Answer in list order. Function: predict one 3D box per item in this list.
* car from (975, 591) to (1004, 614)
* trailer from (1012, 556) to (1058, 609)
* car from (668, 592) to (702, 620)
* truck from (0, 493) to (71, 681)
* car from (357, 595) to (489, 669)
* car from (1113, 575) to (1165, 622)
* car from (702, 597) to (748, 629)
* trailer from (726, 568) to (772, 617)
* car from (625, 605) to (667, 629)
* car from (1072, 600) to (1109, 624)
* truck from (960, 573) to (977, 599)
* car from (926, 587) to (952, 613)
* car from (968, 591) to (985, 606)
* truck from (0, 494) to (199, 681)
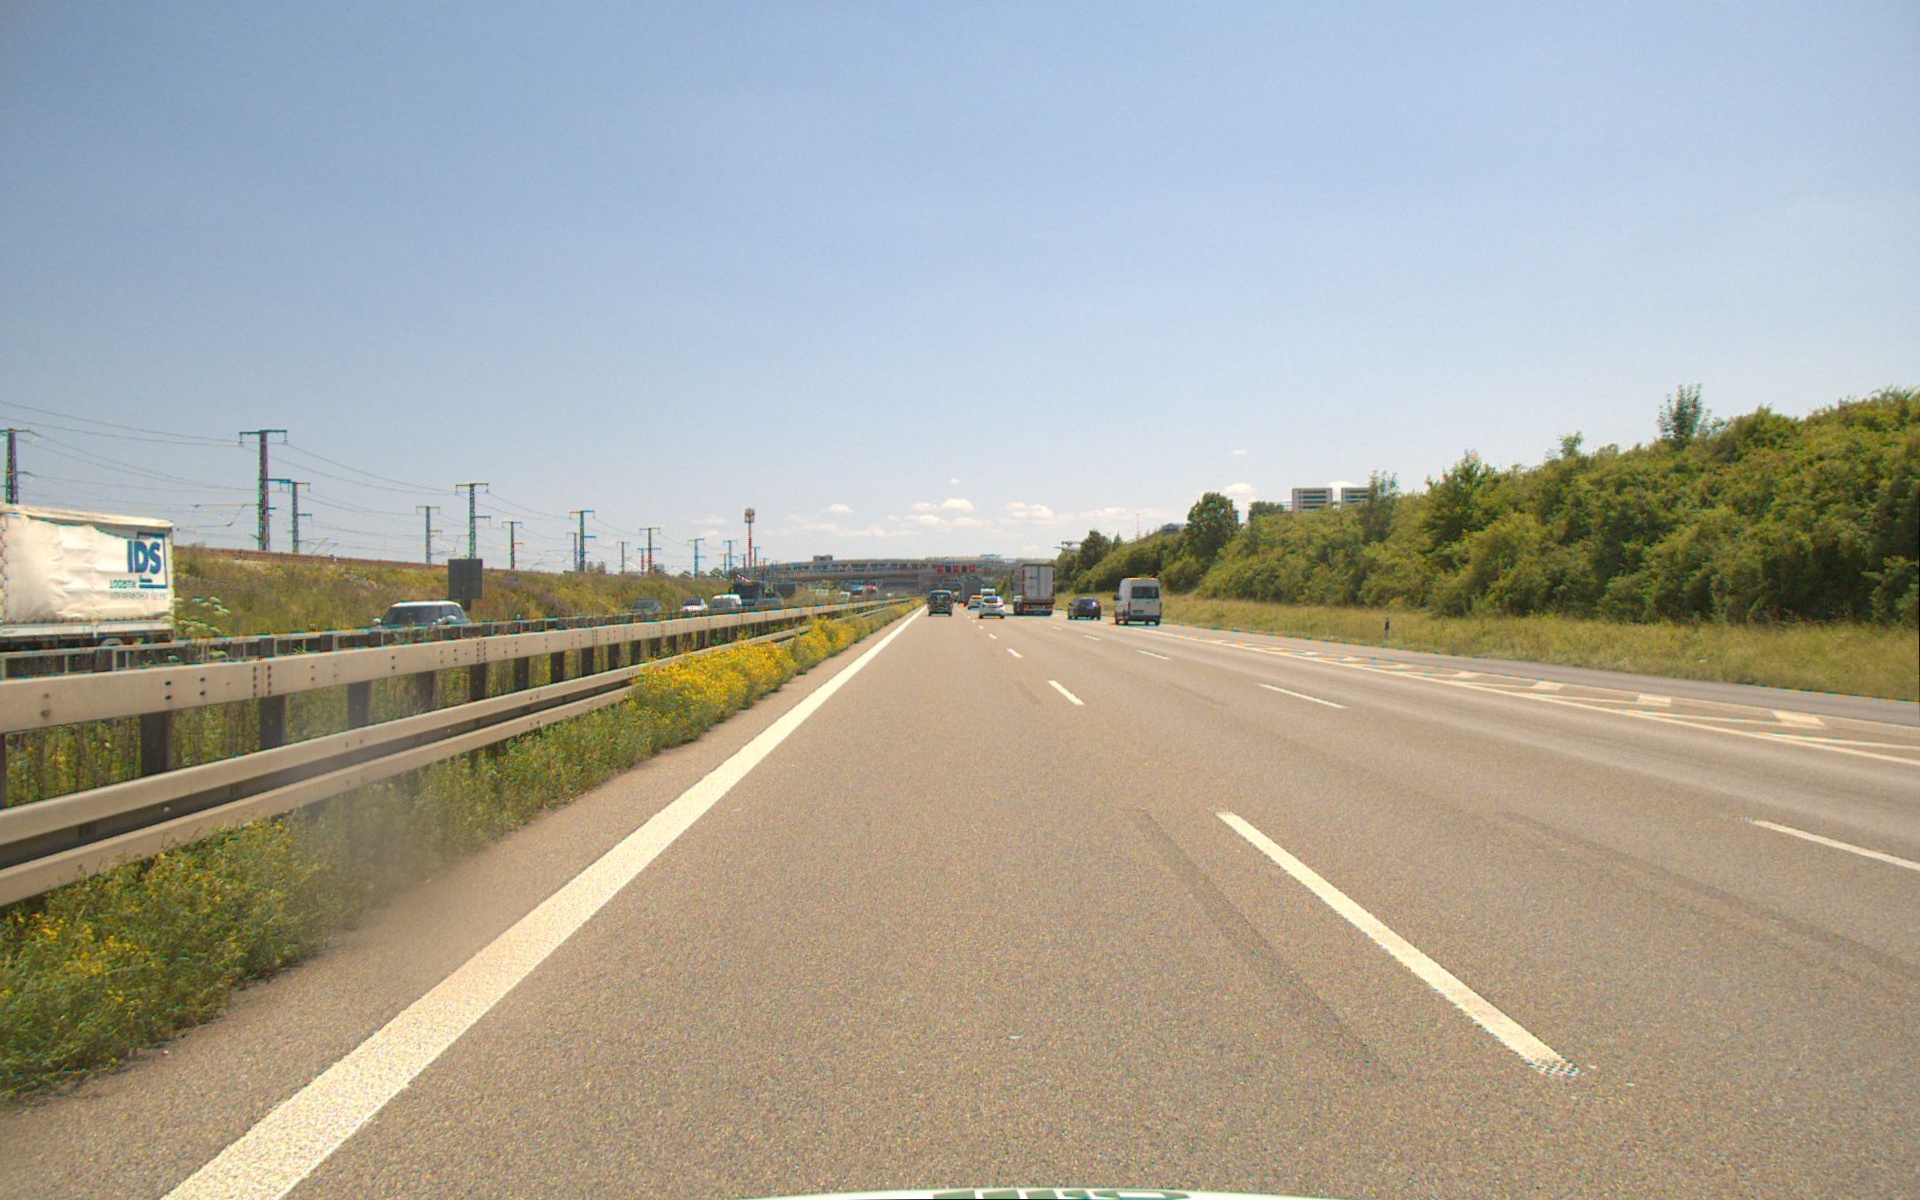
[{"bbox_3d":[2.016,0.184,111.670,1.841,1.553,4.001,1,-1,2],"label":"car"},{"bbox_3d":[6.013,-1.378,133.949,3.112,4.130,9.438,-1,0,-1],"label":"trailer"},{"bbox_3d":[-21.748,0.483,131.068,1.953,2.049,4.494,-2,-1,-1],"label":"car"},{"bbox_3d":[-19.433,-0.284,31.492,2.790,3.527,4.023,1,0,-1],"label":"truck"},{"bbox_3d":[-12.976,0.740,40.181,1.881,1.639,4.000,-2,0,-1],"label":"car"},{"bbox_3d":[10.052,-0.118,93.300,2.228,2.572,5.398,0,0,-2],"label":"car"},{"bbox_3d":[-13.127,0.710,92.669,1.881,1.639,5.394,-2,0,-2],"label":"car"},{"bbox_3d":[-17.480,-0.638,137.528,2.989,3.935,7.202,0,0,-1],"label":"trailer"},{"bbox_3d":[-20.513,1.068,108.164,1.881,1.442,4.583,-2,0,-1],"label":"car"},{"bbox_3d":[8.701,0.834,110.832,1.954,1.534,3.997,2,-1,-3],"label":"car"},{"bbox_3d":[1.137,-1.887,223.461,2.307,3.476,6.056,0,0,-1],"label":"truck"},{"bbox_3d":[-1.525,0.017,120.623,1.842,1.806,3.999,0,-1,-1],"label":"car"},{"bbox_3d":[1.746,-0.203,178.257,1.842,1.553,4.000,1,-1,0],"label":"car"},{"bbox_3d":[-19.438,-0.299,35.244,2.799,3.527,7.779,1,0,-1],"label":"truck"}]
